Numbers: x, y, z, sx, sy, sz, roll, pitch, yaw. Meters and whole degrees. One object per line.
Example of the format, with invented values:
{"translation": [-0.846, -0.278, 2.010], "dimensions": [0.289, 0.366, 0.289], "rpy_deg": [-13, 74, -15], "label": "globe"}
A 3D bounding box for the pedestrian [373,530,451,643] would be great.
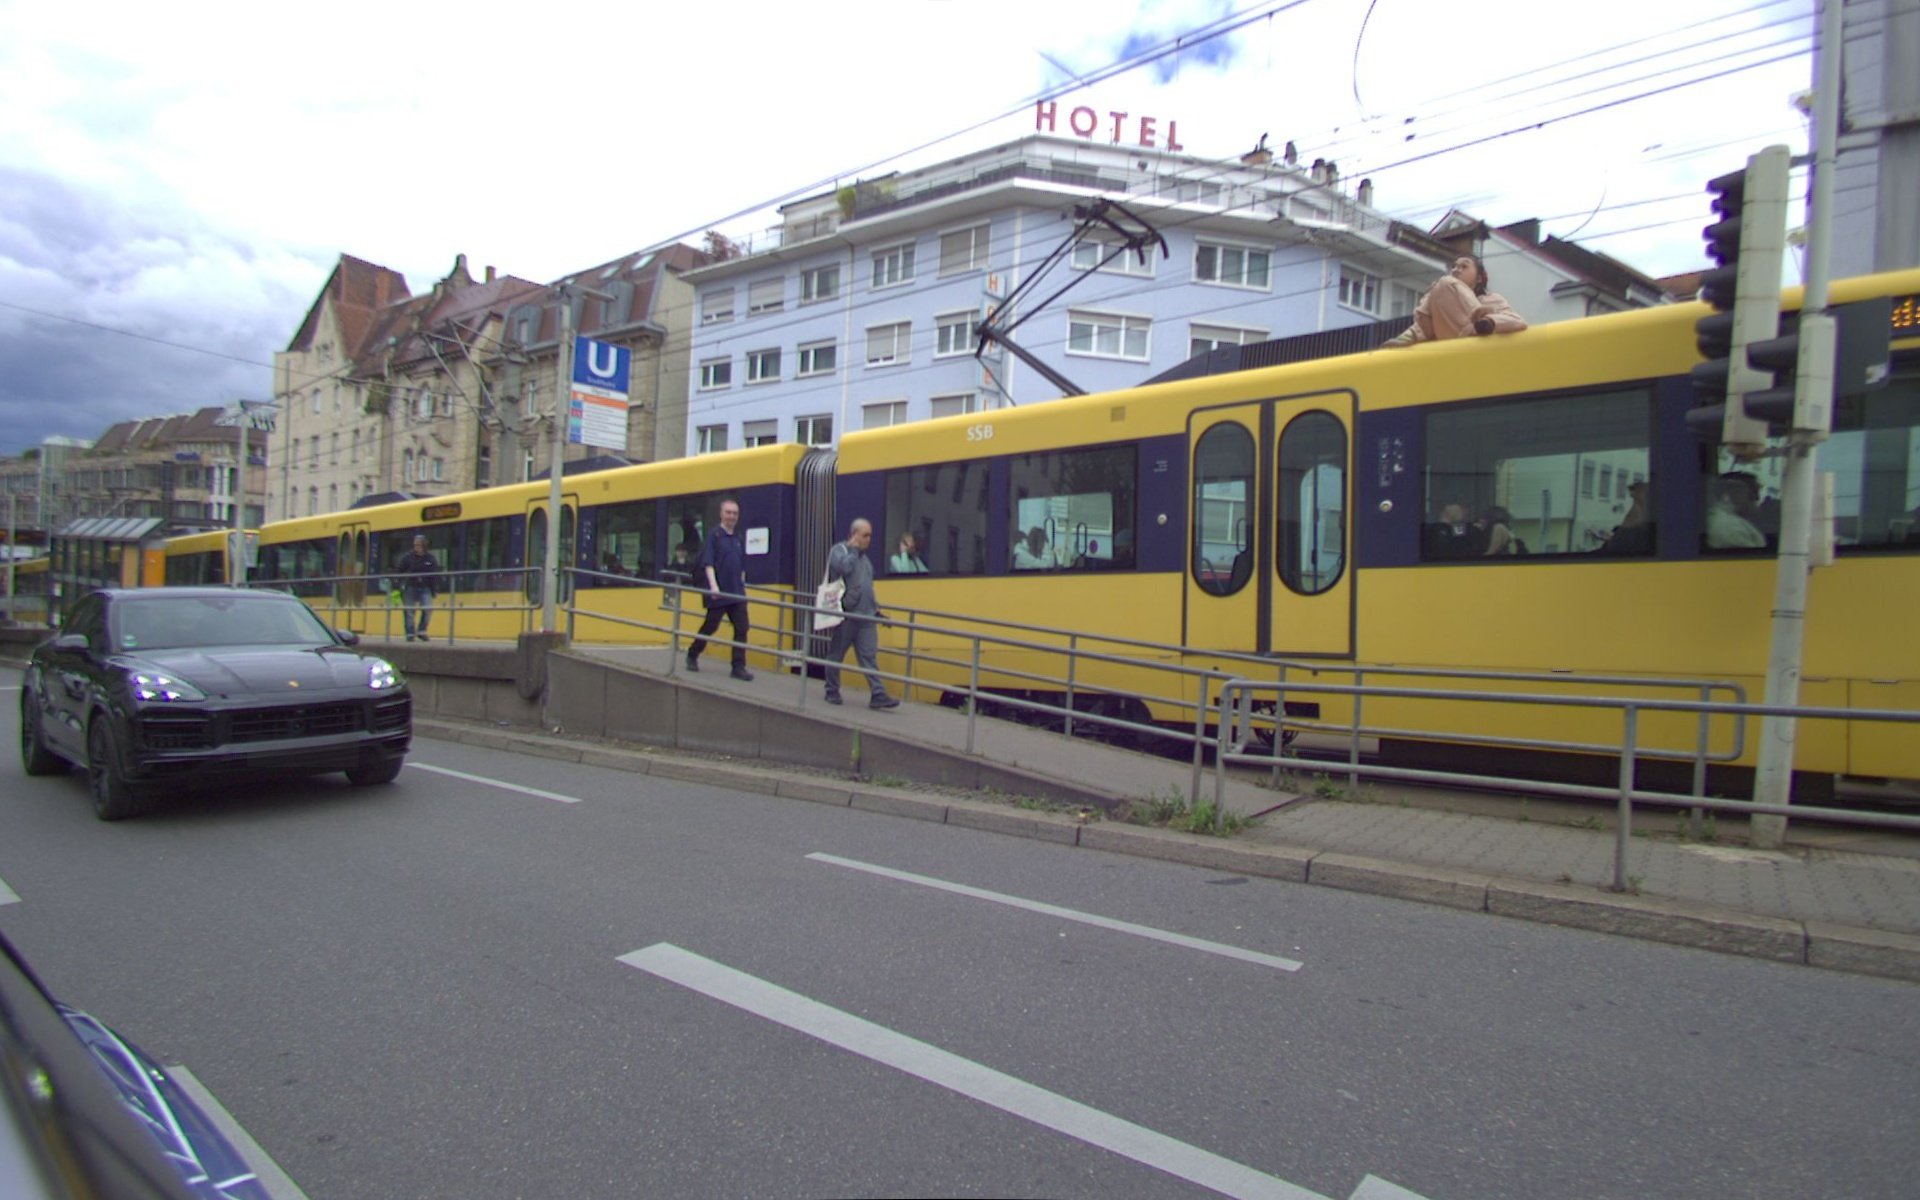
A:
{"translation": [-7.997, -0.173, 14.779], "dimensions": [0.665, 1.596, 0.770], "rpy_deg": [-1, -2, 39], "label": "pedestrian"}

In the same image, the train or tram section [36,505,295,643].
{"translation": [-25.336, -0.634, 31.756], "dimensions": [14.208, 3.585, 2.895], "rpy_deg": [0, -2, 38], "label": "train or tram section"}

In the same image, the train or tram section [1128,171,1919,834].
{"translation": [7.973, -0.536, 5.338], "dimensions": [14.457, 3.691, 2.853], "rpy_deg": [-1, -2, 39], "label": "train or tram section"}

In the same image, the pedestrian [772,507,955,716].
{"translation": [-0.854, 0.078, 9.010], "dimensions": [1.041, 1.692, 1.105], "rpy_deg": [5, 2, 39], "label": "pedestrian"}

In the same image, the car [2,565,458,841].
{"translation": [-6.333, 0.664, 8.548], "dimensions": [4.777, 1.698, 2.007], "rpy_deg": [-1, -1, 40], "label": "car"}

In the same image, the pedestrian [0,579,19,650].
{"translation": [-31.235, 0.476, 32.878], "dimensions": [0.771, 2.302, 0.827], "rpy_deg": [-1, -2, 39], "label": "pedestrian"}

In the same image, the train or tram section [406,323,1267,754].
{"translation": [-3.118, -0.452, 14.208], "dimensions": [14.211, 3.691, 2.854], "rpy_deg": [-1, -2, 38], "label": "train or tram section"}

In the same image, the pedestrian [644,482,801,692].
{"translation": [-2.423, -0.134, 10.308], "dimensions": [1.232, 1.984, 0.920], "rpy_deg": [3, 0, 39], "label": "pedestrian"}

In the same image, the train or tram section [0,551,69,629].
{"translation": [-47.246, -0.372, 49.814], "dimensions": [14.216, 3.445, 2.853], "rpy_deg": [-1, 0, 40], "label": "train or tram section"}

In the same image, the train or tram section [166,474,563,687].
{"translation": [-14.194, -0.290, 23.043], "dimensions": [14.211, 3.691, 2.854], "rpy_deg": [0, -1, 38], "label": "train or tram section"}

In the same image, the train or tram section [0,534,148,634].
{"translation": [-36.292, -0.521, 40.705], "dimensions": [14.216, 3.467, 2.853], "rpy_deg": [-1, 0, 40], "label": "train or tram section"}

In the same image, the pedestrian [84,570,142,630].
{"translation": [-19.471, 0.016, 23.272], "dimensions": [0.778, 1.316, 0.841], "rpy_deg": [-1, -3, 40], "label": "pedestrian"}
